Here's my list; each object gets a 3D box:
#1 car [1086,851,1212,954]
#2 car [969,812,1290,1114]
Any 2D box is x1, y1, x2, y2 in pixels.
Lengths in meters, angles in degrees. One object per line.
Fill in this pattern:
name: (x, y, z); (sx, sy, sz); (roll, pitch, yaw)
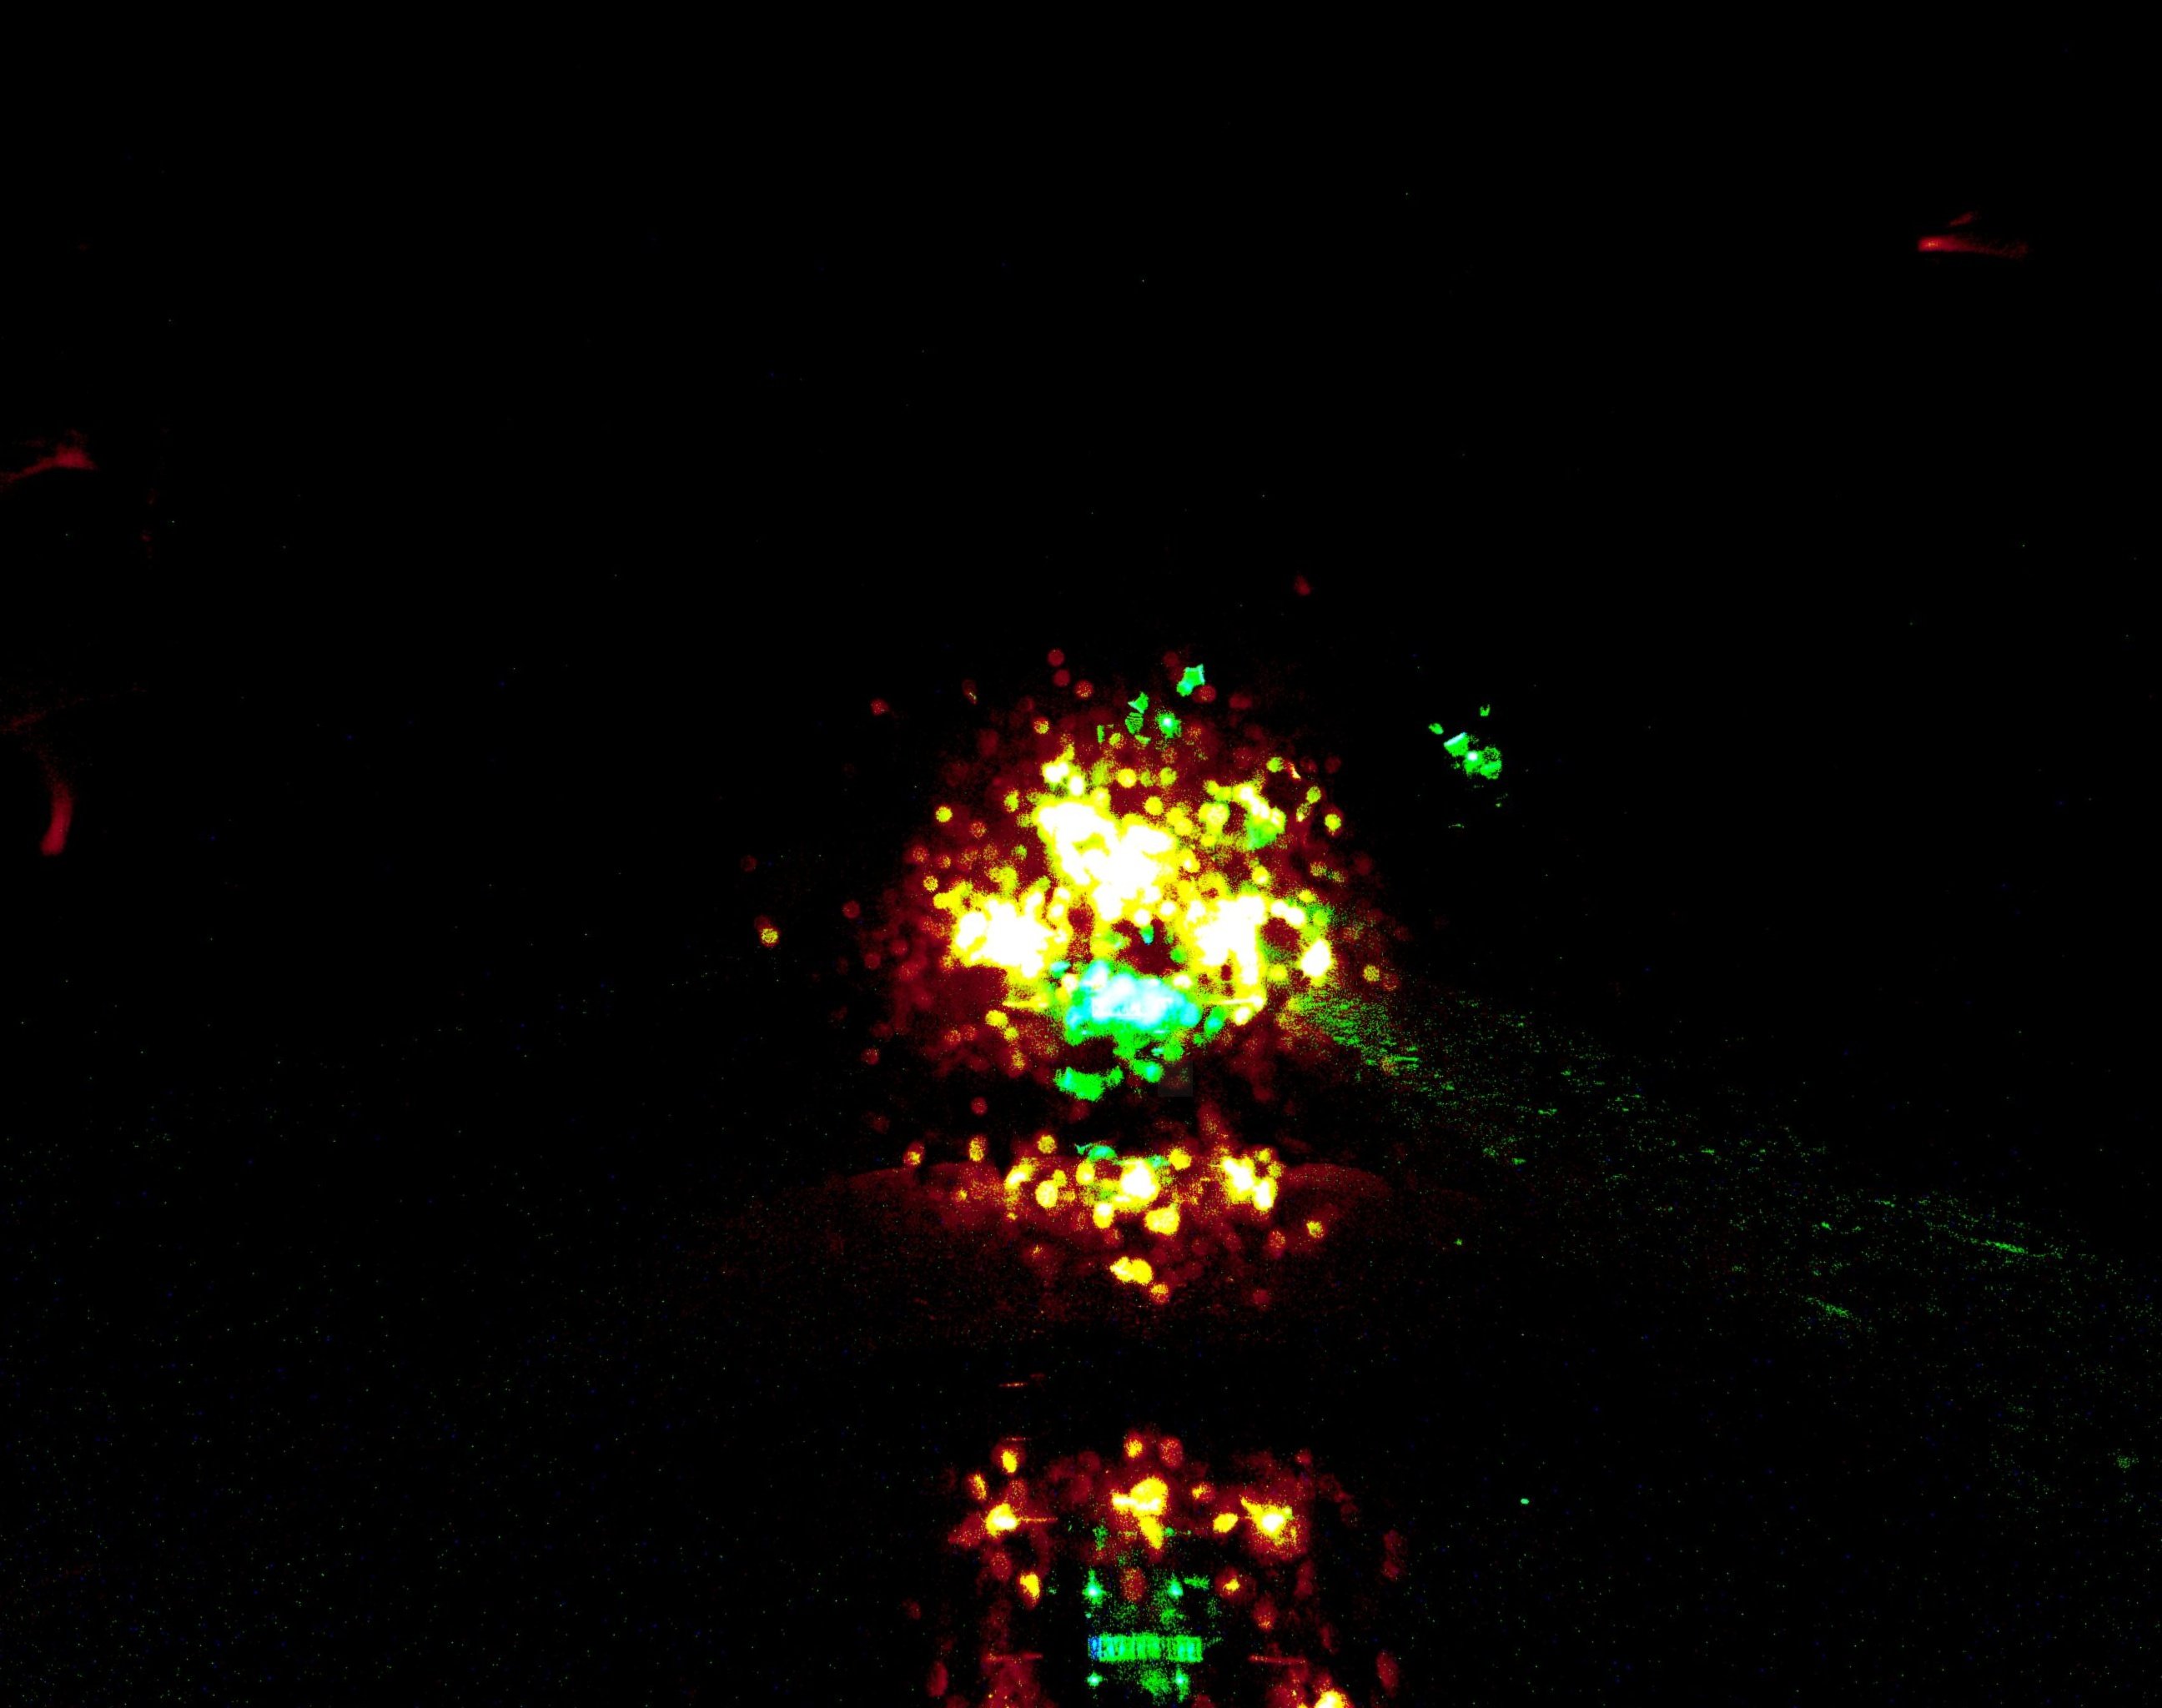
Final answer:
car: (1.140, 0.690, 13.539); (1.735, 1.415, 4.006); (-2, 0, 5)
car: (0.373, 0.608, 6.571); (1.783, 1.681, 3.907); (-1, 0, 3)
